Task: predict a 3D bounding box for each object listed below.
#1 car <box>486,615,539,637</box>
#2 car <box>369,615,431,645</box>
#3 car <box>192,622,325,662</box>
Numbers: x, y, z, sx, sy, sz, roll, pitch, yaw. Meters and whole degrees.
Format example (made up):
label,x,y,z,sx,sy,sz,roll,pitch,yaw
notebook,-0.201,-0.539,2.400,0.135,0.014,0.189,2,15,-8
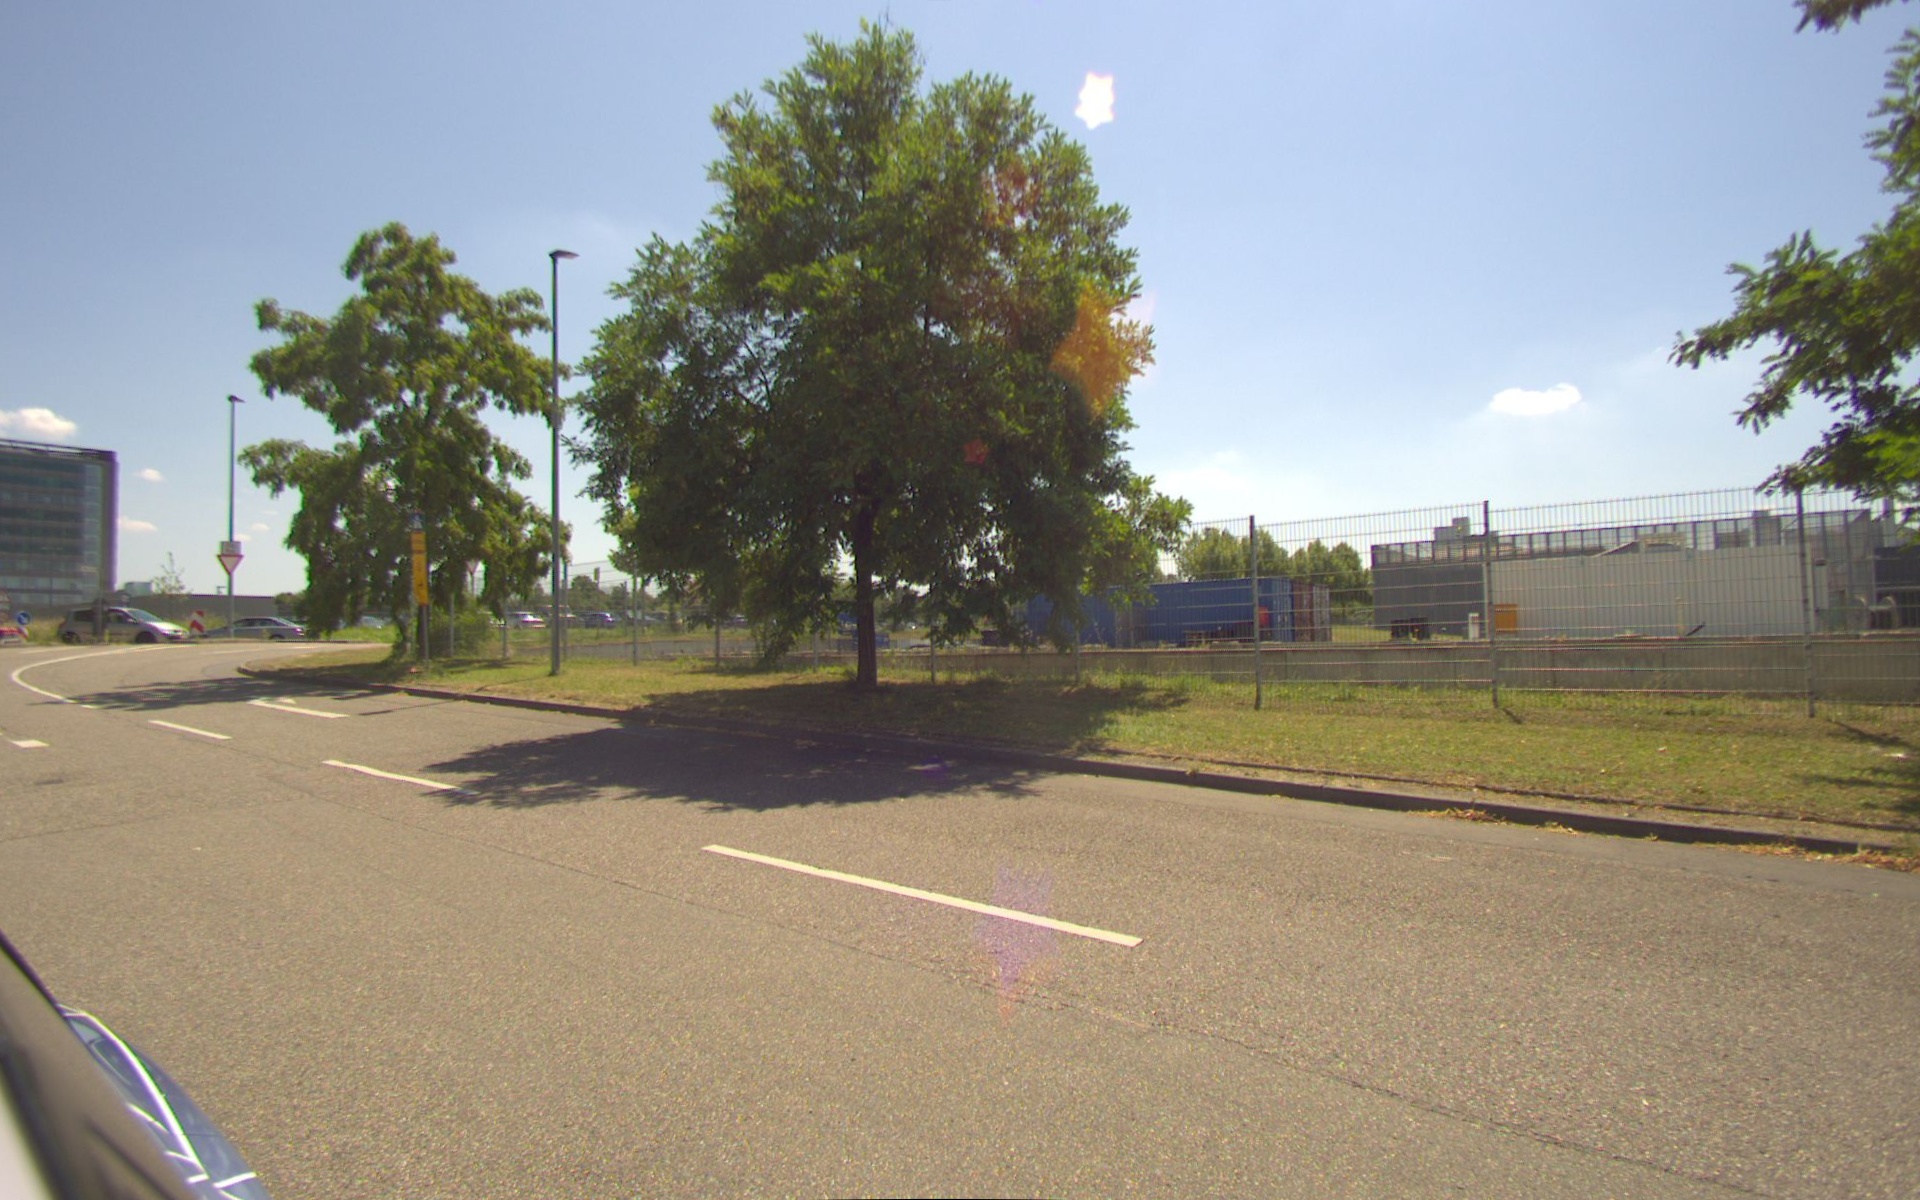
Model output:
label,x,y,z,sx,sy,sz,roll,pitch,yaw
car,-26.682,1.557,60.325,3.265,1.191,1.482,-4,-2,37
car,-36.208,1.978,65.396,4.595,1.703,1.755,-4,-5,36
car,-30.114,1.793,43.603,4.420,1.385,1.679,-3,-4,-20
